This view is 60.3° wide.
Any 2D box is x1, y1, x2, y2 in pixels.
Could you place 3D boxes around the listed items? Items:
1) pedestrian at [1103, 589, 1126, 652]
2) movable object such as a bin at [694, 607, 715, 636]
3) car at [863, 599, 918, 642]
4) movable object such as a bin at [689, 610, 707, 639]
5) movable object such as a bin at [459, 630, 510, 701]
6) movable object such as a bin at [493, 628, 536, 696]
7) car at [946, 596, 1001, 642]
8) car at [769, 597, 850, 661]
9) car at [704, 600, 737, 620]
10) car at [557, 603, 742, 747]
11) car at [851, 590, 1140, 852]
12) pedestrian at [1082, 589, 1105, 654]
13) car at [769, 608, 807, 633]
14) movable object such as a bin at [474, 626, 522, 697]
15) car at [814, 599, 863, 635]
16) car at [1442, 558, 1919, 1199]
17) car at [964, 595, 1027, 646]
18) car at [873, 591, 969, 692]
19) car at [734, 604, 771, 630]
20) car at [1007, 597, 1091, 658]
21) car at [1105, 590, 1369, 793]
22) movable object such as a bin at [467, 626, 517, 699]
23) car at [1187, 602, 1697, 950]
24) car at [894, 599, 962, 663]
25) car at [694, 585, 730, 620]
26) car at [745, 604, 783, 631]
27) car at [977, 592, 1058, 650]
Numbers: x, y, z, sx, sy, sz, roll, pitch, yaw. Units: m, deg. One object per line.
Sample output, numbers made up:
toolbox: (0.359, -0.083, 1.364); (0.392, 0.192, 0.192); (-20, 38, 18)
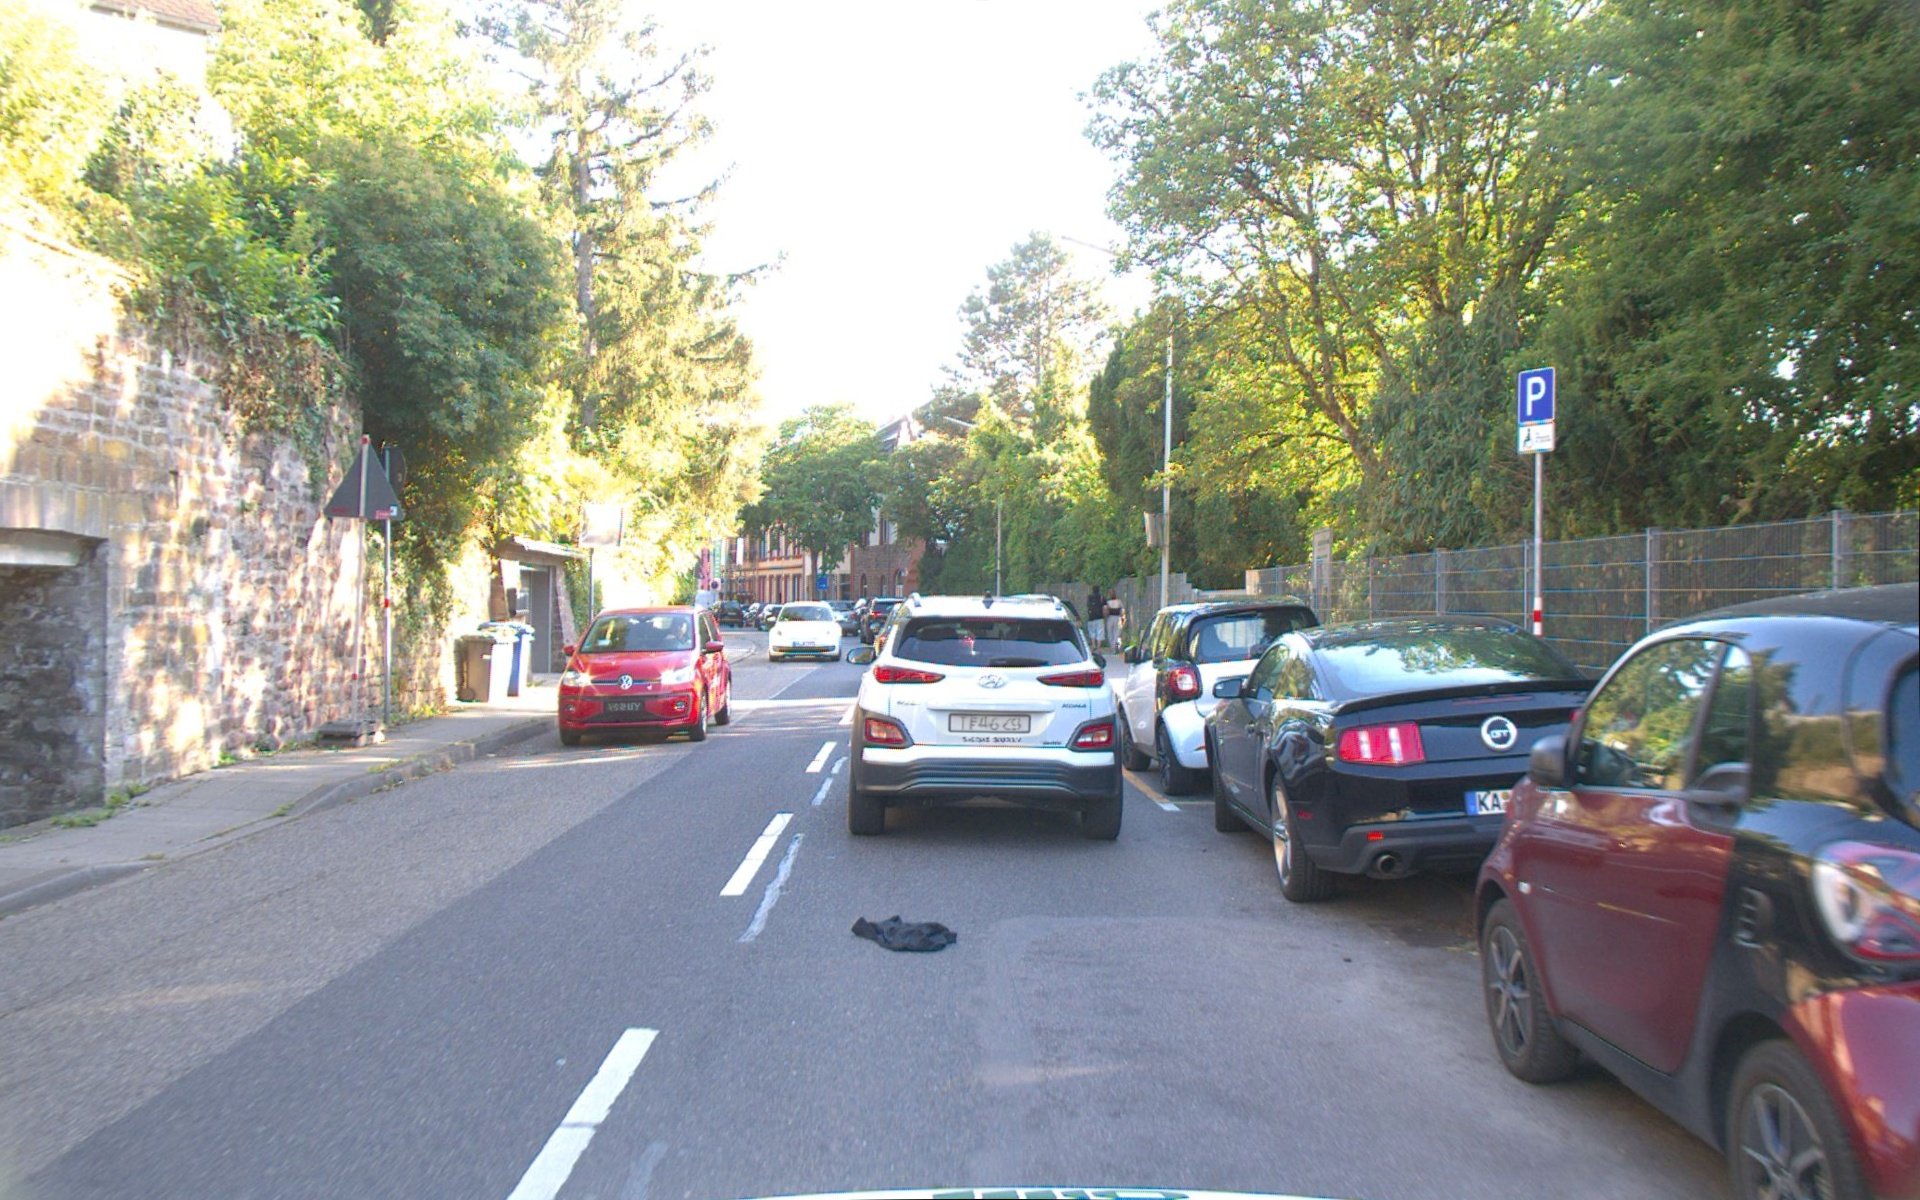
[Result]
pedestrian: (3.945, 0.519, 42.228); (0.493, 1.596, 0.503); (-2, 0, -1)
movable object such as a bin: (-10.930, 0.916, 70.682); (0.776, 1.210, 0.772); (2, -1, -3)
car: (-2.481, 0.706, 58.503); (1.563, 1.486, 3.092); (0, 0, -10)
movable object such as a bin: (-9.627, 0.907, 60.720); (0.485, 1.029, 1.112); (2, -1, -2)
movable object such as a bin: (-6.611, 0.903, 22.995); (0.572, 0.954, 0.438); (2, -1, -4)
movable object such as a bin: (-6.602, 0.915, 24.536); (0.480, 0.981, 0.583); (2, 0, -4)
car: (0.471, 0.661, 59.640); (1.563, 1.515, 3.597); (-2, 0, -6)
car: (-3.852, 0.729, 42.928); (1.706, 1.500, 3.999); (-3, 0, -1)
car: (-15.097, 0.620, 104.281); (1.504, 1.282, 3.342); (0, 0, -19)
car: (-3.534, 0.800, 19.372); (1.519, 1.492, 3.567); (-1, 0, -1)
car: (0.193, 0.745, 12.072); (1.736, 1.569, 3.999); (1, 0, -1)
pedestrian: (3.396, 0.539, 42.210); (0.493, 1.634, 0.491); (-2, 0, -1)
car: (-9.138, 1.064, 87.572); (1.501, 1.282, 3.347); (0, 0, -15)
movable object such as a bin: (-6.686, 0.882, 23.940); (0.562, 1.002, 0.438); (2, -1, -4)
car: (-5.511, 0.747, 74.459); (1.564, 1.610, 3.346); (0, 0, -16)
car: (2.601, 0.699, 4.583); (1.619, 1.591, 2.872); (-4, -1, 1)
car: (1.120, 0.656, 53.872); (1.563, 1.546, 3.927); (-2, 0, -6)
car: (-0.710, 0.649, 28.034); (1.482, 1.560, 3.545); (-1, 0, -3)
car: (-14.334, 1.151, 113.990); (1.729, 1.645, 3.979); (2, 0, -18)
car: (2.276, 0.691, 43.182); (1.653, 1.456, 3.997); (-2, 0, -4)
car: (2.345, 0.719, 14.650); (1.593, 1.536, 2.900); (-2, 1, -5)
movable object such as a bin: (-6.632, 0.880, 23.453); (0.562, 1.002, 0.438); (2, -1, -4)
car: (2.528, 0.805, 9.951); (1.675, 1.524, 4.814); (2, 0, 1)
car: (-0.760, 0.736, 41.123); (1.538, 1.503, 3.548); (1, 0, 1)
car: (-19.042, 0.220, 127.003); (1.900, 2.628, 4.368); (-1, 0, -20)
car: (-12.859, 1.125, 108.427); (1.729, 1.645, 3.979); (2, 0, -18)
car: (1.639, 0.610, 48.648); (1.564, 1.592, 3.991); (-2, 0, -10)
